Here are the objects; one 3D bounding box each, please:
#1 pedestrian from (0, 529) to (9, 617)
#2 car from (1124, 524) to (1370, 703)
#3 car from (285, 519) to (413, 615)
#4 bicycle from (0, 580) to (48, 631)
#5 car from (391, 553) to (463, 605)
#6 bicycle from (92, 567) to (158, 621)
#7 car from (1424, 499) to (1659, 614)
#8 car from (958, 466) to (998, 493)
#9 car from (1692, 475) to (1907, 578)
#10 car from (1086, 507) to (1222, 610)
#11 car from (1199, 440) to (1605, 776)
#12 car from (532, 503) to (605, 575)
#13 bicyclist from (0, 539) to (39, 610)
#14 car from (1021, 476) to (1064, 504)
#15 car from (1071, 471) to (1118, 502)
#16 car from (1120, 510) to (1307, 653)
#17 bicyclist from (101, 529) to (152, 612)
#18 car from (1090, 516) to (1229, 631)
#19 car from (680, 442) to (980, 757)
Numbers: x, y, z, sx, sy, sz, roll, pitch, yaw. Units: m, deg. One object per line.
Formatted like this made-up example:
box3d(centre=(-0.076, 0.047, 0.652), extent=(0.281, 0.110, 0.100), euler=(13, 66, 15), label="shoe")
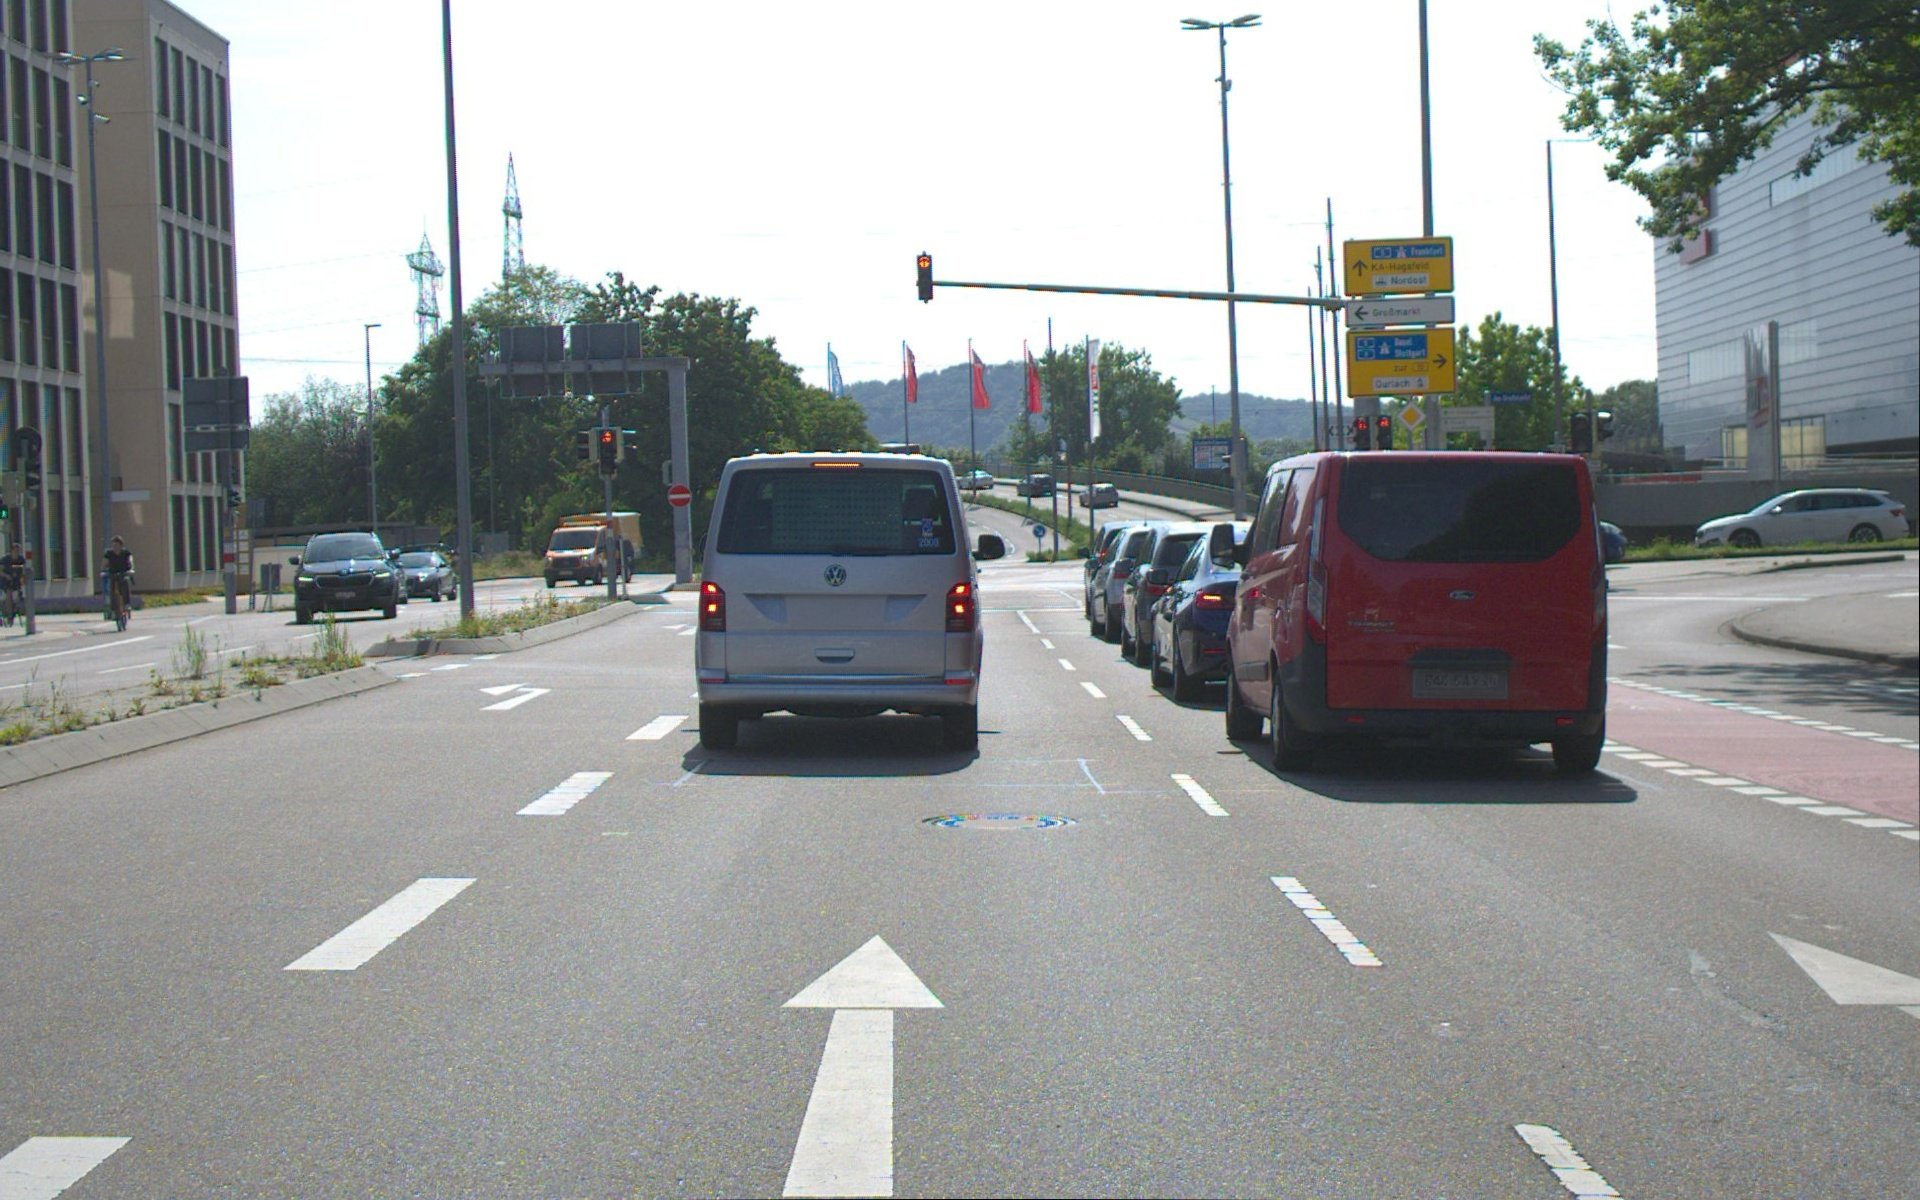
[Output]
box3d(centre=(-22.188, -0.622, 78.822), extent=(0.558, 2.007, 0.576), euler=(0, 1, 3), label="pedestrian")
box3d(centre=(2.457, 0.060, 30.389), extent=(1.746, 1.453, 4.476), euler=(0, 1, -1), label="car")
box3d(centre=(-11.452, -0.641, 64.643), extent=(1.738, 1.613, 4.210), euler=(-4, 1, -3), label="car")
box3d(centre=(-20.175, 0.105, 74.053), extent=(0.585, 1.047, 1.876), euler=(-1, 1, -1), label="bicycle")
box3d(centre=(-15.669, -0.647, 101.197), extent=(1.576, 1.404, 4.380), euler=(-2, 1, -3), label="car")
box3d(centre=(-15.618, -0.125, 64.339), extent=(0.680, 0.937, 1.973), euler=(-3, 1, 1), label="bicycle")
box3d(centre=(11.735, -0.883, 69.515), extent=(4.402, 1.987, 1.481), euler=(-4, 1, 2), label="car")
box3d(centre=(1.365, -9.114, 260.039), extent=(1.993, 2.007, 4.001), euler=(-1, 1, -15), label="car")
box3d(centre=(18.905, -1.648, 77.538), extent=(4.402, 1.987, 1.481), euler=(-4, 1, 5), label="car")
box3d(centre=(2.962, -0.669, 53.245), extent=(1.836, 1.520, 4.000), euler=(0, 1, 0), label="car")
box3d(centre=(2.774, -0.016, 22.735), extent=(1.967, 1.961, 5.126), euler=(0, 1, -1), label="car")
box3d(centre=(-14.622, -2.294, 128.726), extent=(2.405, 2.552, 6.897), euler=(-2, 1, -5), label="car")
box3d(centre=(-20.289, -0.555, 74.022), extent=(0.630, 1.496, 1.028), euler=(-1, 1, -1), label="bicyclist")
box3d(centre=(5.950, -7.918, 247.471), extent=(1.993, 2.007, 4.001), euler=(-1, 1, -15), label="car")
box3d(centre=(9.045, -7.630, 231.538), extent=(1.993, 2.007, 4.001), euler=(-1, 1, -15), label="car")
box3d(centre=(2.792, -0.245, 38.580), extent=(1.746, 1.511, 4.078), euler=(0, 1, -1), label="car")
box3d(centre=(-15.603, -0.555, 64.356), extent=(0.618, 1.521, 1.036), euler=(-3, 1, 1), label="bicyclist")
box3d(centre=(2.605, -0.386, 45.619), extent=(1.578, 1.453, 3.786), euler=(0, 1, -1), label="car")
box3d(centre=(-0.833, -0.050, 23.693), extent=(1.884, 1.983, 4.000), euler=(0, 1, 0), label="car")
